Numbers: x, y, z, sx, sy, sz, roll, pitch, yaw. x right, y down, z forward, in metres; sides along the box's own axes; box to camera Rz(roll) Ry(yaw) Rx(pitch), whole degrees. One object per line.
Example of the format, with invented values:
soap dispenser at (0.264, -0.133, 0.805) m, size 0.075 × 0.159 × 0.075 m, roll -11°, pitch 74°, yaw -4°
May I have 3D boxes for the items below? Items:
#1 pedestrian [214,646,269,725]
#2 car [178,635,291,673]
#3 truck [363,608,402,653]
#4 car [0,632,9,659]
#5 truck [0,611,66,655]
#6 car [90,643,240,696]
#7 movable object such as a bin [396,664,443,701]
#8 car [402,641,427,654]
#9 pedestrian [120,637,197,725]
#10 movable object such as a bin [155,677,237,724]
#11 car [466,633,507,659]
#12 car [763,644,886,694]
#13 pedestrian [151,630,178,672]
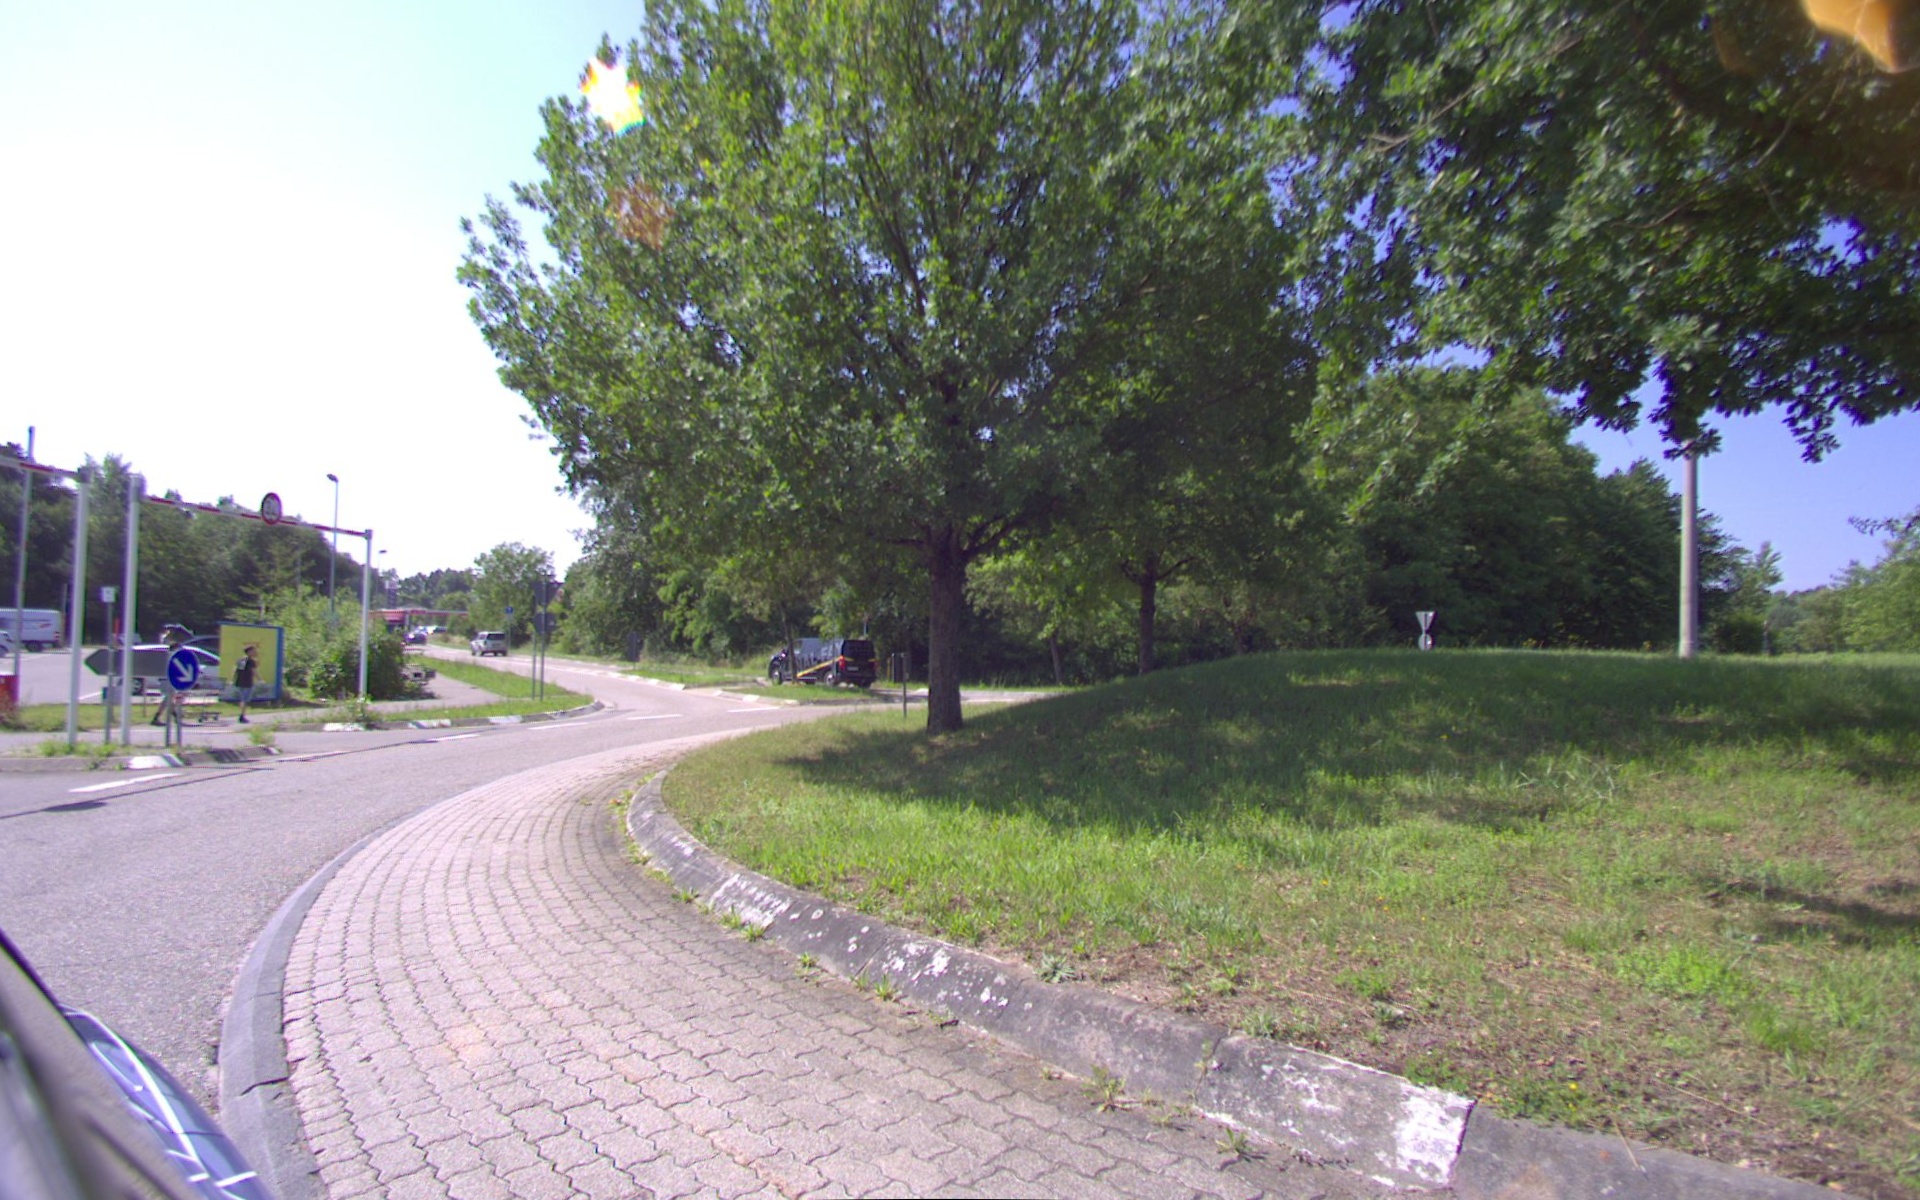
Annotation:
pedestrian at (-15.490, 1.834, 21.834) m, size 0.695 × 1.661 × 0.595 m, roll 0°, pitch -3°, yaw 5°
car at (-32.799, 2.436, 45.877) m, size 4.064 × 1.640 × 1.756 m, roll 2°, pitch -4°, yaw -35°
truck at (-53.697, 2.870, 94.085) m, size 2.676 × 3.945 × 5.967 m, roll 3°, pitch -3°, yaw -32°
car at (-52.726, 2.354, 53.147) m, size 1.905 × 1.464 × 3.917 m, roll -2°, pitch -4°, yaw 44°
truck at (-58.693, 1.992, 62.036) m, size 5.525 × 2.625 × 2.208 m, roll 3°, pitch -3°, yaw -37°
car at (-24.931, 2.194, 31.907) m, size 3.546 × 1.574 × 1.818 m, roll 4°, pitch -4°, yaw -36°
movable object such as a bin at (-17.333, 2.630, 32.493) m, size 0.857 × 1.129 × 1.458 m, roll 1°, pitch -2°, yaw -8°
car at (-59.956, 5.200, 111.188) m, size 1.808 × 1.398 × 4.433 m, roll 4°, pitch -4°, yaw -37°
pedestrian at (-16.784, 1.677, 21.215) m, size 0.869 × 1.799 × 0.841 m, roll 0°, pitch -3°, yaw 3°
movable object such as a bin at (-16.759, 2.193, 22.237) m, size 0.868 × 0.962 × 1.203 m, roll 0°, pitch -3°, yaw 1°
car at (-34.722, 3.338, 74.209) m, size 1.868 × 1.830 × 4.607 m, roll 3°, pitch -3°, yaw -35°
car at (-5.173, 2.562, 38.382) m, size 4.717 × 1.727 × 2.072 m, roll -2°, pitch -4°, yaw 42°
pedestrian at (-34.760, 2.225, 44.219) m, size 0.807 × 1.811 × 0.868 m, roll 3°, pitch -3°, yaw -35°
